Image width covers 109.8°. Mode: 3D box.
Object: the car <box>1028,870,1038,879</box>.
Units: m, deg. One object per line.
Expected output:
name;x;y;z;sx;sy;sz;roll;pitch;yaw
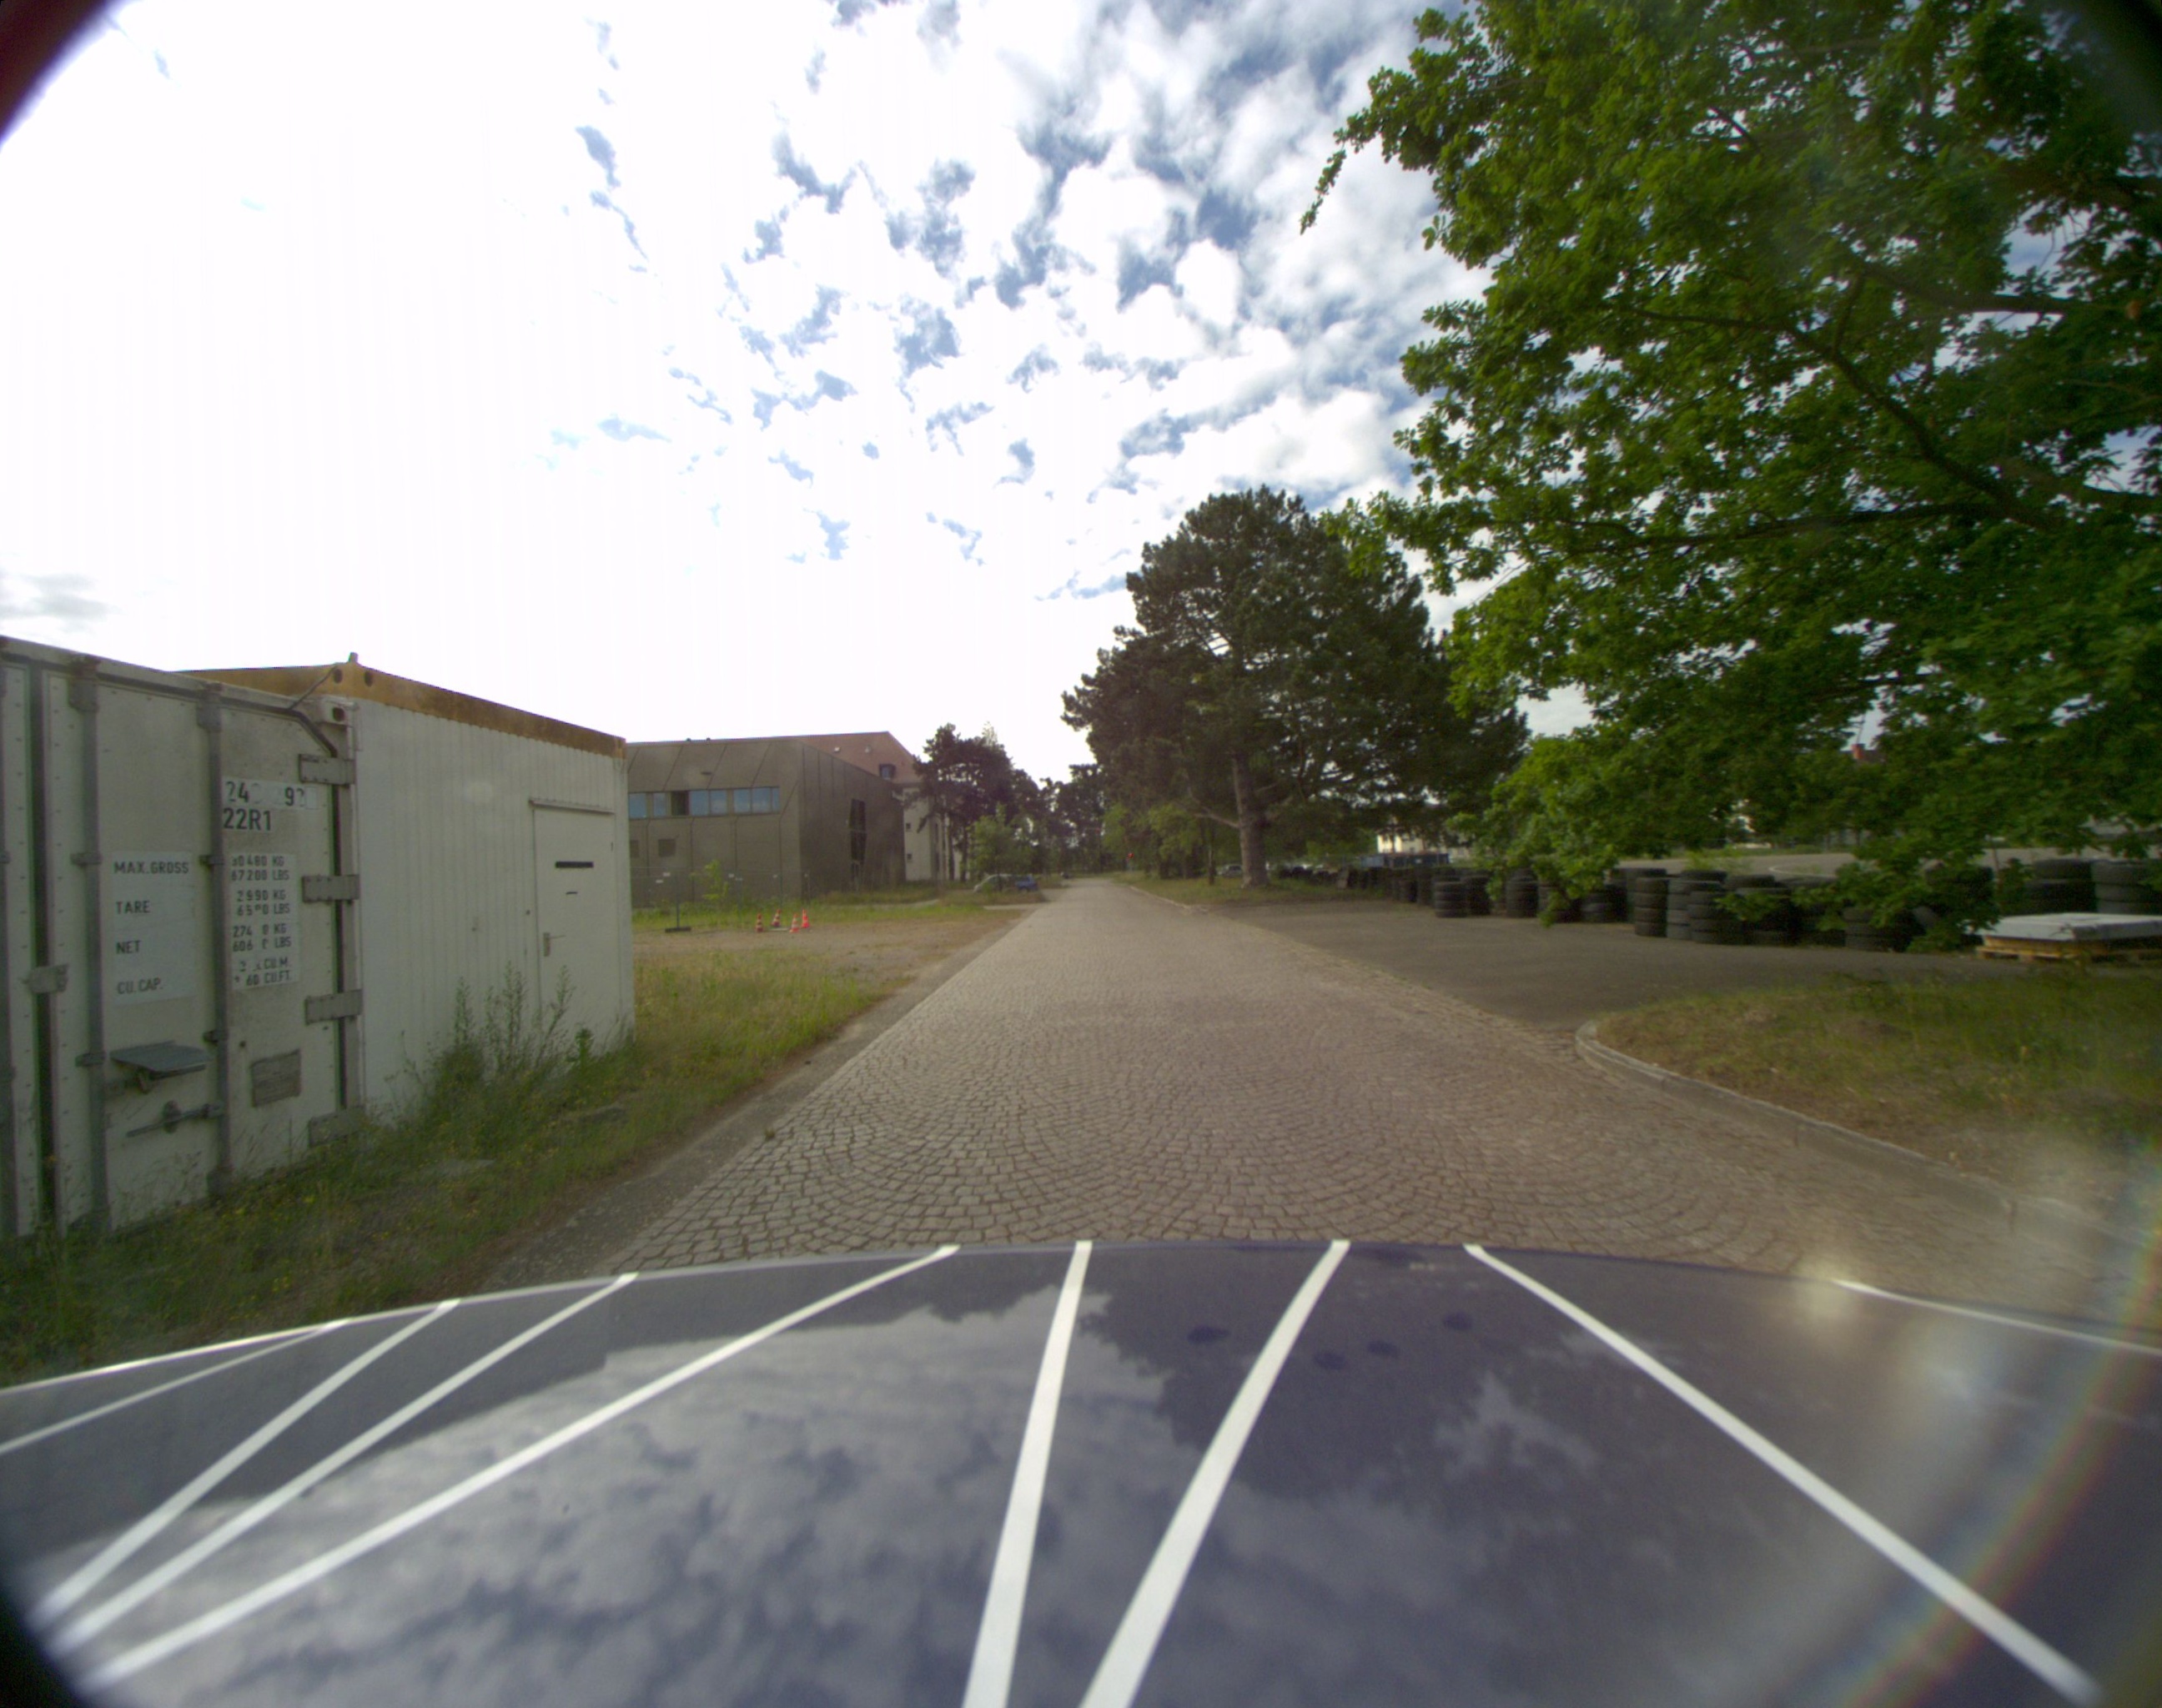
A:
car;-10.748;4.502;168.884;1.999;1.776;3.999;-2;-1;-5

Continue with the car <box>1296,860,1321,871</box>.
car;31.979;1.666;107.018;1.999;1.440;4.453;-2;-1;-3

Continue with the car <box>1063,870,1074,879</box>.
car;-2.833;4.568;169.904;1.999;1.776;3.999;-2;-1;-5

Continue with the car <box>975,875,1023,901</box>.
car;-5.065;2.079;47.092;2.748;1.572;1.683;0;-1;1

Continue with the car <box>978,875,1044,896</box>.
car;-4.963;2.233;54.381;4.537;1.441;1.932;0;-1;-2

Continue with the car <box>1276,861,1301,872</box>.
car;29.094;1.794;106.512;1.999;1.440;4.453;-2;-1;-3

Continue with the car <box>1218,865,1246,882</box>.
car;13.563;1.722;68.487;1.670;1.401;3.724;-2;-1;-2

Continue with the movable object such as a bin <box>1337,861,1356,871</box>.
movable object such as a bin;32.878;1.498;94.203;1.057;1.064;2.720;-2;-1;-8

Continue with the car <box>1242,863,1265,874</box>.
car;24.004;2.024;105.974;1.999;1.440;4.453;-2;-1;-3

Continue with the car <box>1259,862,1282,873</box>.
car;26.513;1.912;106.434;1.999;1.440;4.453;-2;-1;-3

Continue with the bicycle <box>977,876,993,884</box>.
bicycle;-14.204;3.827;112.646;2.164;1.088;0.717;-2;-1;-3
